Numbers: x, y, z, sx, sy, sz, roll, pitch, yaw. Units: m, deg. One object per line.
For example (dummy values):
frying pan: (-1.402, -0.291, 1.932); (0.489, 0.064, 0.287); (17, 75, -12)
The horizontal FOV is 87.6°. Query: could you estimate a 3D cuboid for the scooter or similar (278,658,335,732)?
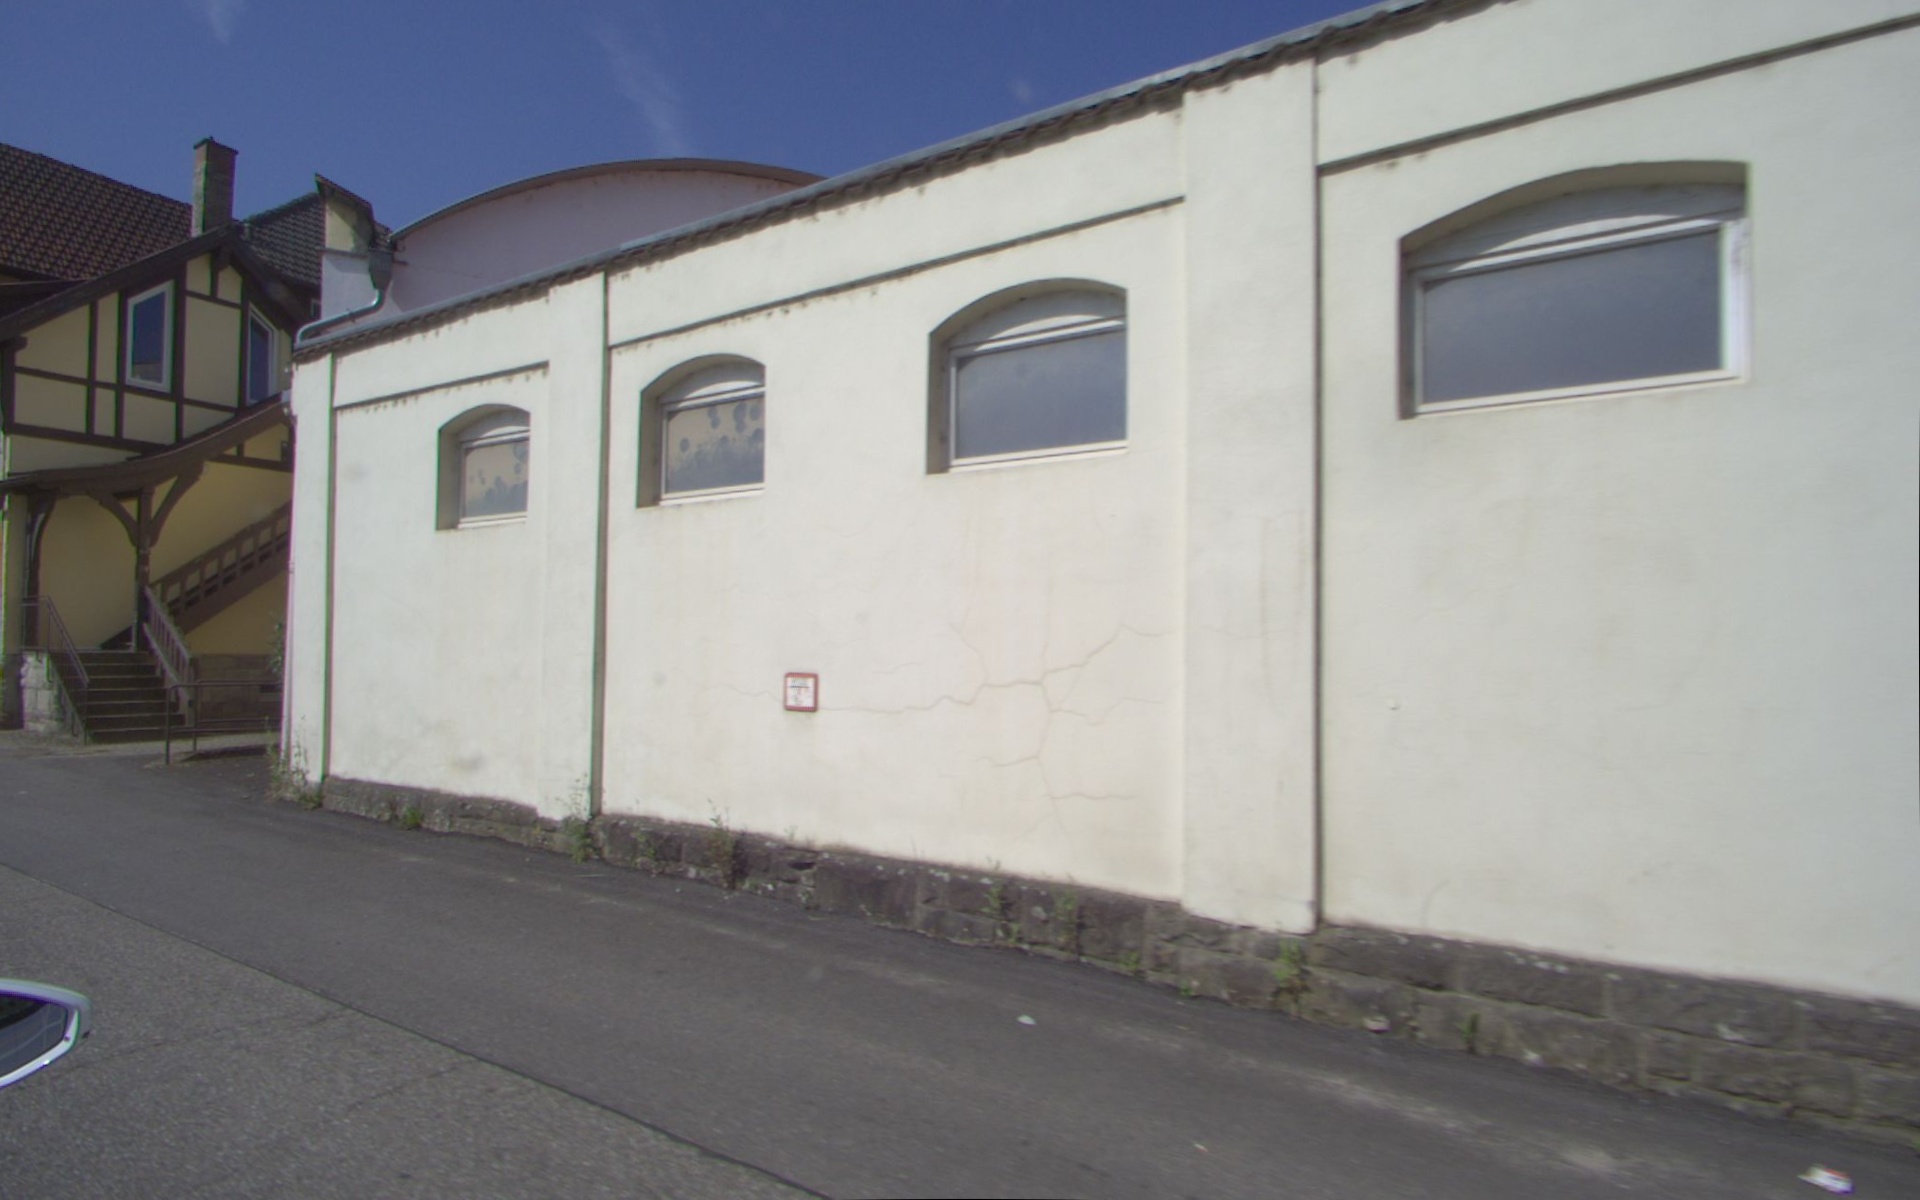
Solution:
scooter or similar: (-10.117, 1.458, 15.538); (0.613, 1.077, 1.006); (1, -2, -27)
